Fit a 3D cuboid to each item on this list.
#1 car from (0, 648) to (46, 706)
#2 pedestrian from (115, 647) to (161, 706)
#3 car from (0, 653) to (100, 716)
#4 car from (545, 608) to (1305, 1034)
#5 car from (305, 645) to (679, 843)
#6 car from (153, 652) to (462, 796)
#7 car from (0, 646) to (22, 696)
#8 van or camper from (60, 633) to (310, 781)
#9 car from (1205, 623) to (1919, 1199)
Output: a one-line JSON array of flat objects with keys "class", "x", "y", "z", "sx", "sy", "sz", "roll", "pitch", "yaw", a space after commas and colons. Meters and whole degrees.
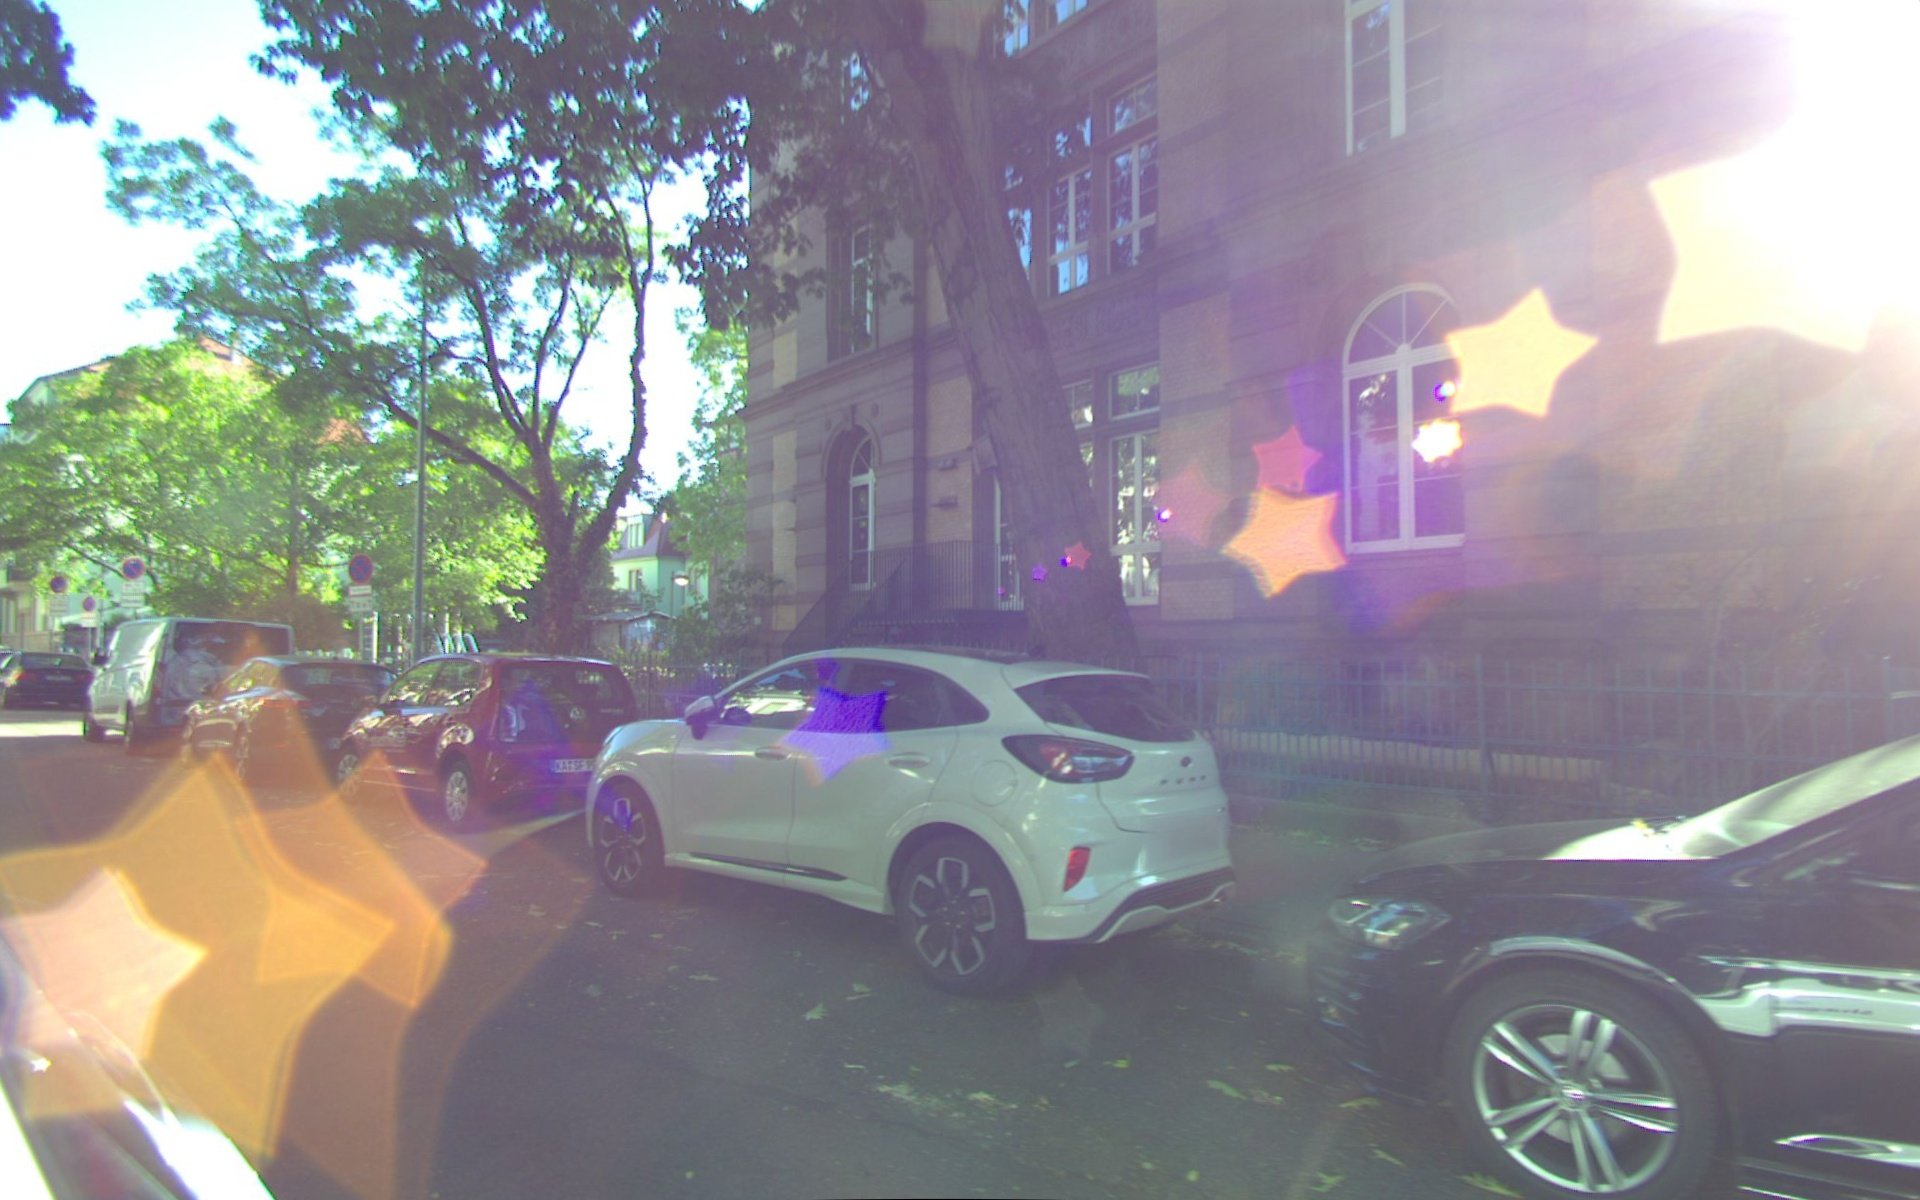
[{"class": "car", "x": -28.314, "y": 2.238, "z": 29.701, "sx": 4.150, "sy": 1.585, "sz": 1.658, "roll": -3, "pitch": -8, "yaw": 42}, {"class": "pedestrian", "x": -22.799, "y": 2.111, "z": 28.080, "sx": 0.529, "sy": 1.589, "sz": 0.872, "roll": -3, "pitch": -4, "yaw": 41}, {"class": "car", "x": -23.495, "y": 2.119, "z": 25.649, "sx": 4.775, "sy": 1.406, "sz": 1.696, "roll": -3, "pitch": -8, "yaw": 40}, {"class": "car", "x": -0.389, "y": 0.980, "z": 5.787, "sx": 4.128, "sy": 1.566, "sz": 1.807, "roll": -2, "pitch": -8, "yaw": 39}, {"class": "car", "x": -4.515, "y": 1.234, "z": 9.501, "sx": 4.025, "sy": 1.471, "sz": 1.585, "roll": -3, "pitch": -7, "yaw": 41}, {"class": "car", "x": -8.263, "y": 1.433, "z": 12.651, "sx": 4.603, "sy": 1.469, "sz": 1.980, "roll": -3, "pitch": -7, "yaw": 41}, {"class": "car", "x": -32.952, "y": 2.346, "z": 33.820, "sx": 4.466, "sy": 1.603, "sz": 1.762, "roll": -3, "pitch": -7, "yaw": 41}, {"class": "van or camper", "x": -12.502, "y": 1.630, "z": 16.172, "sx": 5.457, "sy": 1.995, "sz": 1.902, "roll": -3, "pitch": -7, "yaw": 40}, {"class": "car", "x": 3.092, "y": 0.873, "z": 2.657, "sx": 4.454, "sy": 1.486, "sz": 1.731, "roll": -2, "pitch": -8, "yaw": 36}]
